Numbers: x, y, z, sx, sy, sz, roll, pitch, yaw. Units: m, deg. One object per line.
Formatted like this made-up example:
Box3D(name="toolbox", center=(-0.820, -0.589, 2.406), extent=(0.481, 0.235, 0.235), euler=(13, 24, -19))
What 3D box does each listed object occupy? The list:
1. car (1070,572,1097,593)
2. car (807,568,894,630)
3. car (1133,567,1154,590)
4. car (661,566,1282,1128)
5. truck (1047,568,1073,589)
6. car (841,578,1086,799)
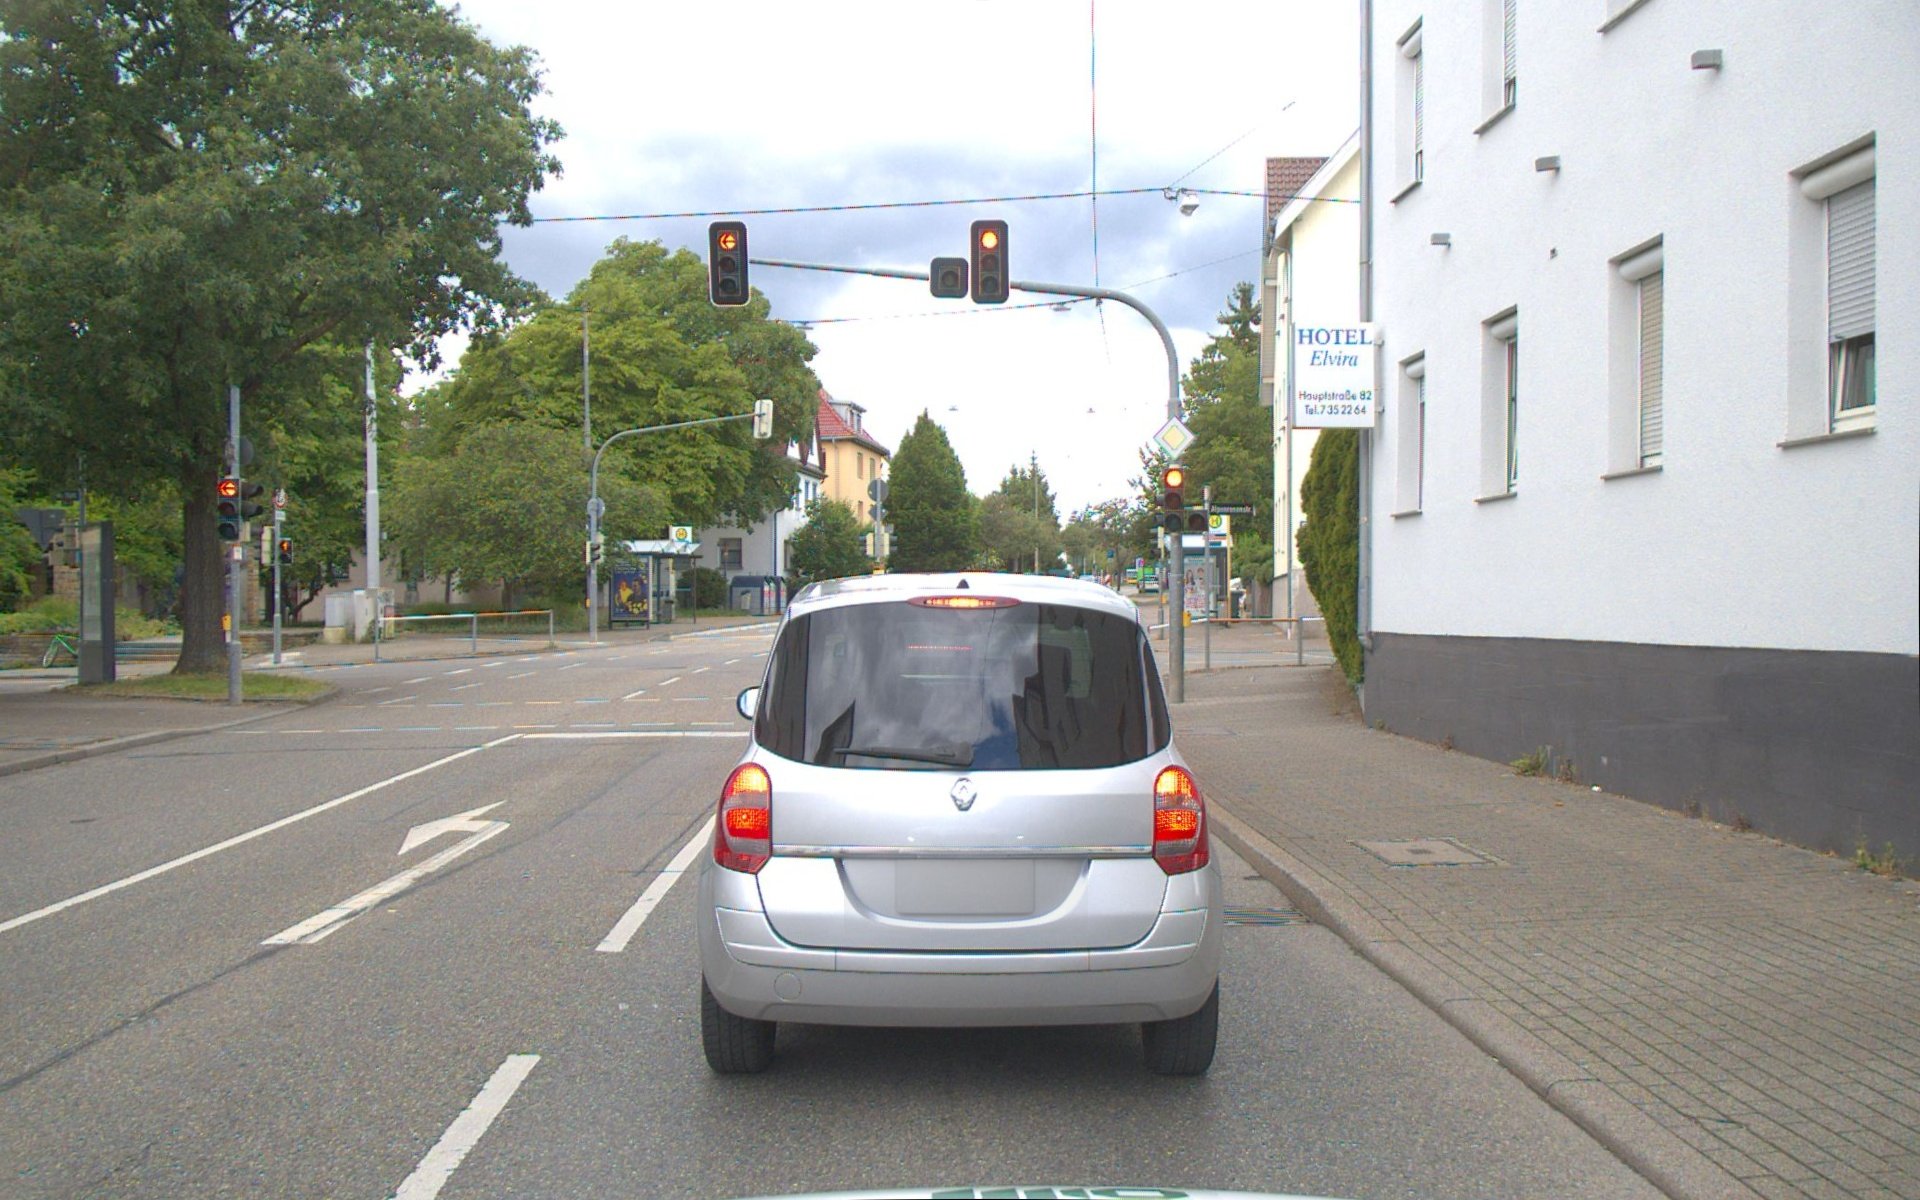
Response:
Box3D(name="car", center=(10.589, -1.490, 141.499), extent=(1.818, 1.778, 4.003), euler=(1, 0, 11))
Box3D(name="car", center=(-3.539, -0.049, 54.145), extent=(1.885, 1.804, 4.004), euler=(-4, 0, 9))
Box3D(name="car", center=(21.319, -2.490, 192.139), extent=(2.015, 2.556, 5.600), euler=(1, 0, 11))
Box3D(name="car", center=(-0.004, 0.690, 6.610), extent=(1.719, 1.557, 3.999), euler=(1, 0, -1))
Box3D(name="truck", center=(10.082, -2.153, 166.701), extent=(2.056, 2.049, 5.752), euler=(1, 0, 9))
Box3D(name="car", center=(-0.012, 0.626, 13.631), extent=(1.719, 1.557, 3.796), euler=(1, 0, -1))
